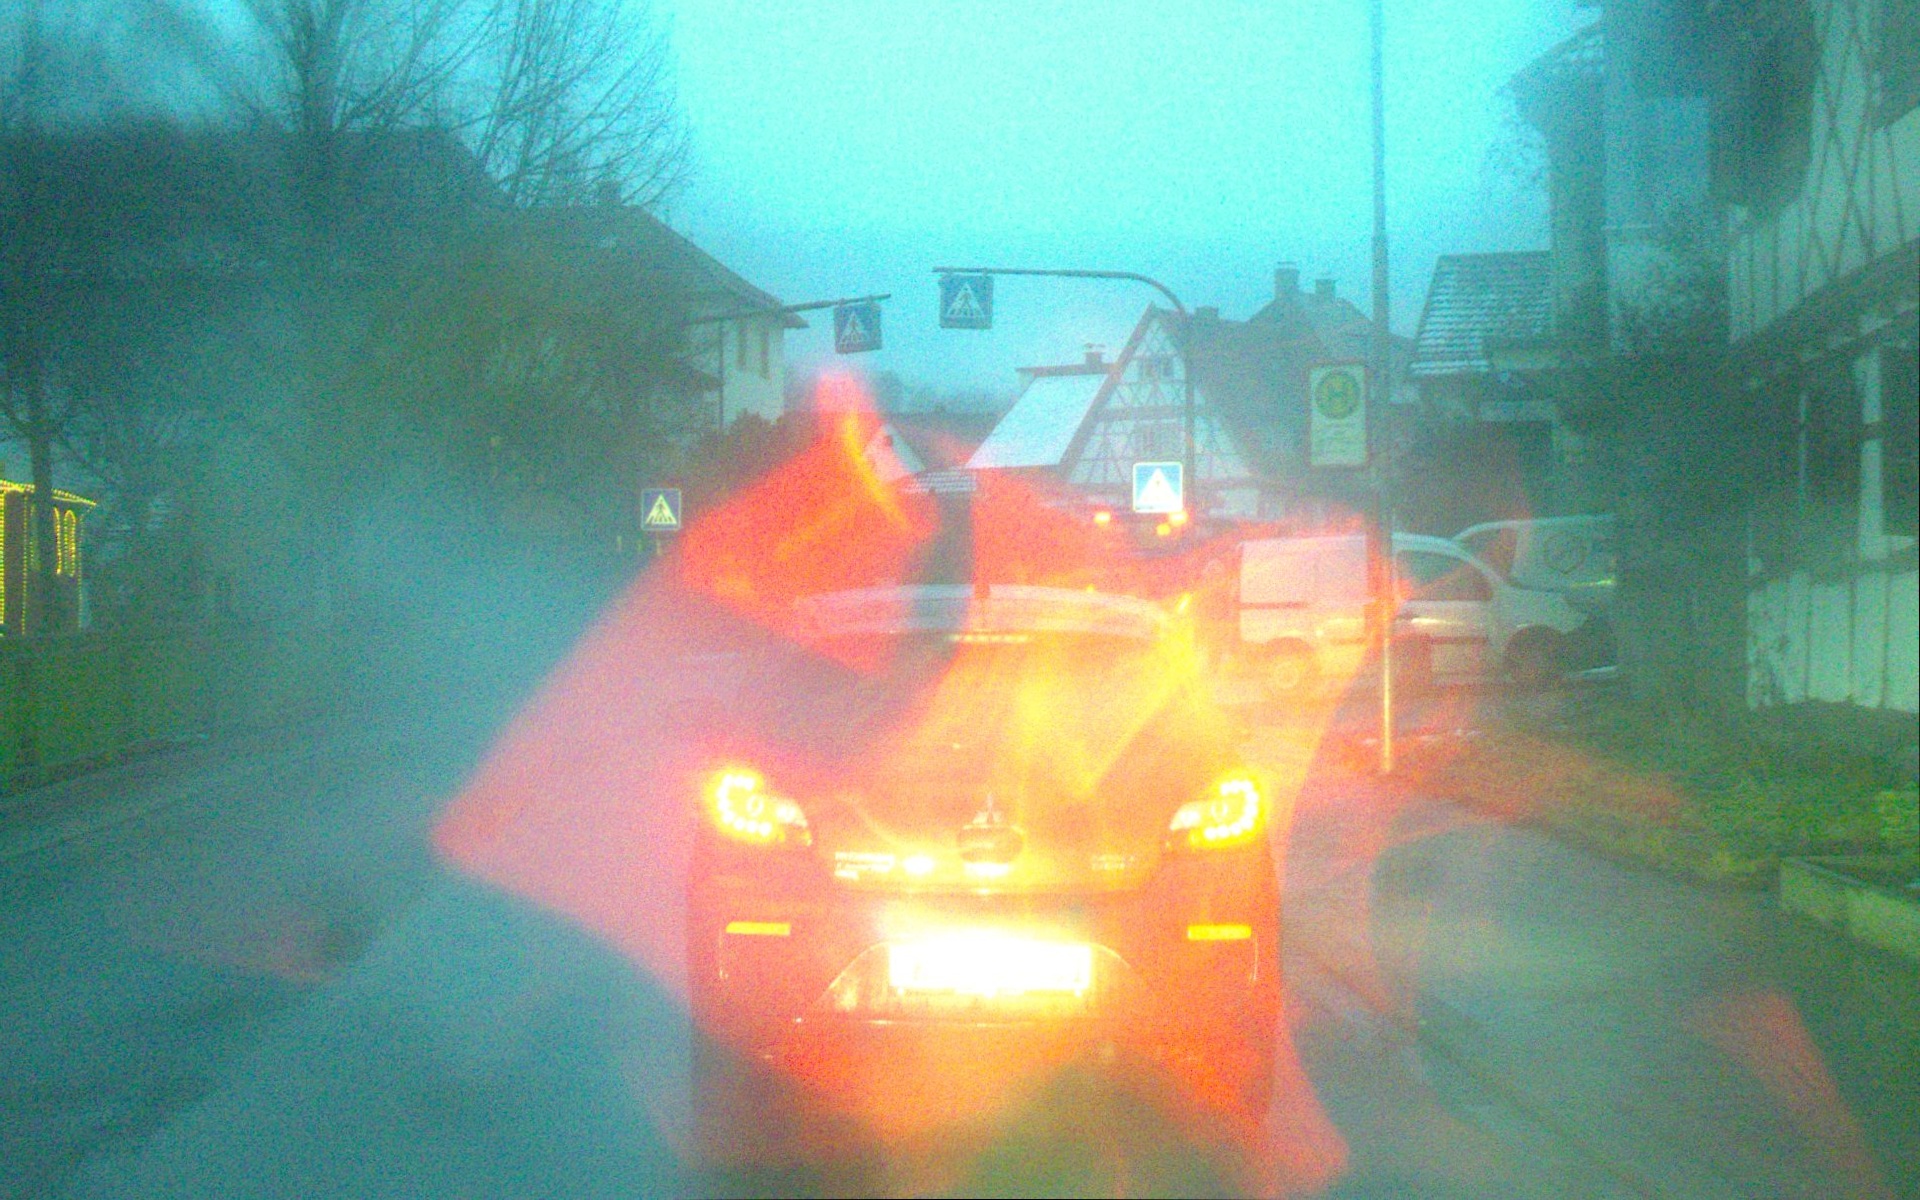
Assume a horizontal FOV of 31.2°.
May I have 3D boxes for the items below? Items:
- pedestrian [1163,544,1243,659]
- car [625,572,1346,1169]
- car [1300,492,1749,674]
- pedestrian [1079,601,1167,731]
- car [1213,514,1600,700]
[{"bbox_3d":[3.666,0.017,51.799,0.868,1.661,0.991,-3,0,20],"label":"pedestrian"},{"bbox_3d":[0.041,0.665,10.651,1.795,1.471,4.000,1,1,-1],"label":"car"},{"bbox_3d":[6.601,-0.198,40.132,4.983,1.882,1.936,-2,0,12],"label":"car"},{"bbox_3d":[2.257,0.905,47.540,0.880,1.729,0.954,-3,0,20],"label":"pedestrian"},{"bbox_3d":[4.882,0.084,37.729,4.043,1.837,1.863,-2,0,7],"label":"car"}]
